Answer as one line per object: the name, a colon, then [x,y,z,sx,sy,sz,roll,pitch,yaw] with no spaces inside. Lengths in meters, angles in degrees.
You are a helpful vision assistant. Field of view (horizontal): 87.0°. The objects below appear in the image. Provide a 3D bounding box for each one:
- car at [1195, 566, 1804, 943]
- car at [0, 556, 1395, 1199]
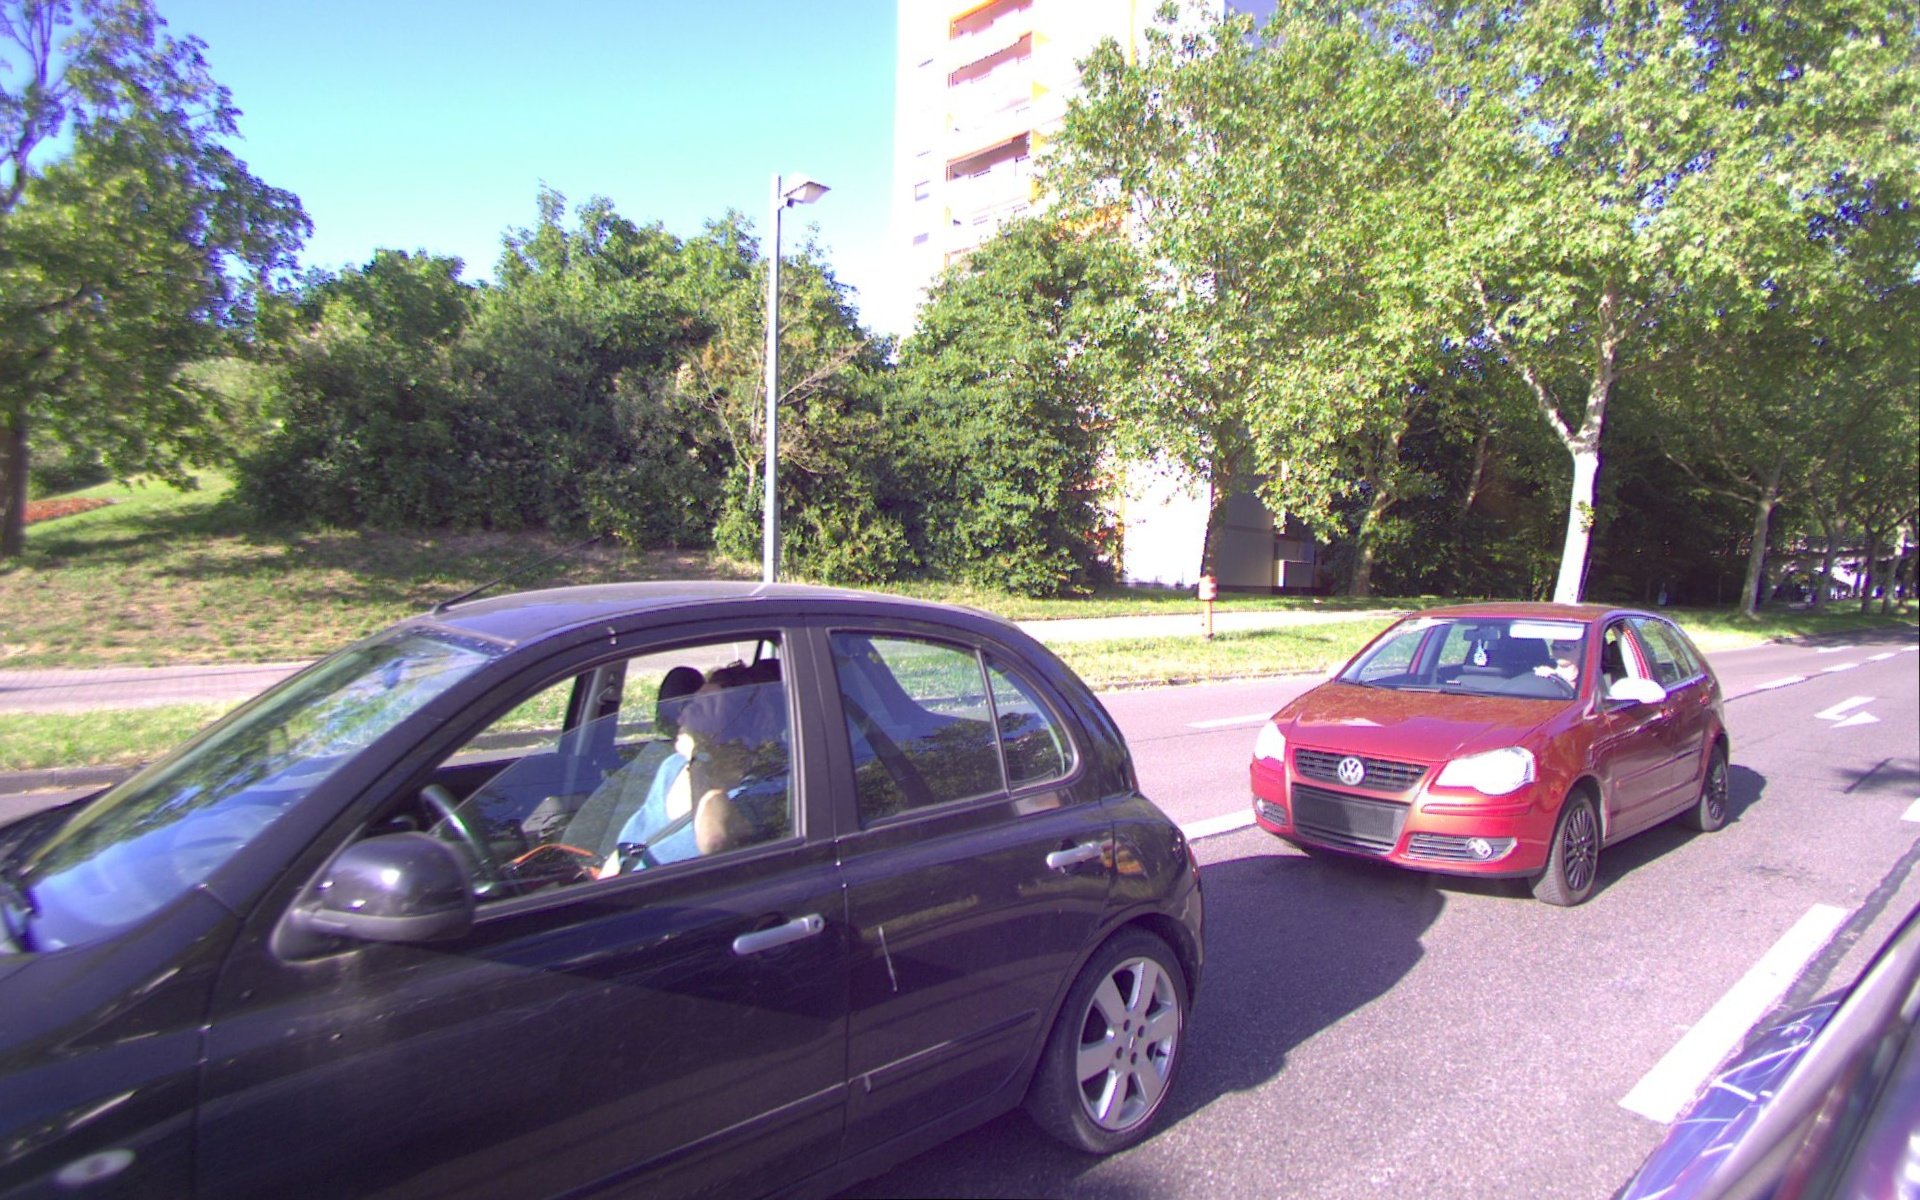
car: [3.656,0.627,6.409,4.642,1.578,1.771,0,1,-40]
car: [-0.723,0.677,2.753,4.542,1.501,1.738,0,1,-42]
